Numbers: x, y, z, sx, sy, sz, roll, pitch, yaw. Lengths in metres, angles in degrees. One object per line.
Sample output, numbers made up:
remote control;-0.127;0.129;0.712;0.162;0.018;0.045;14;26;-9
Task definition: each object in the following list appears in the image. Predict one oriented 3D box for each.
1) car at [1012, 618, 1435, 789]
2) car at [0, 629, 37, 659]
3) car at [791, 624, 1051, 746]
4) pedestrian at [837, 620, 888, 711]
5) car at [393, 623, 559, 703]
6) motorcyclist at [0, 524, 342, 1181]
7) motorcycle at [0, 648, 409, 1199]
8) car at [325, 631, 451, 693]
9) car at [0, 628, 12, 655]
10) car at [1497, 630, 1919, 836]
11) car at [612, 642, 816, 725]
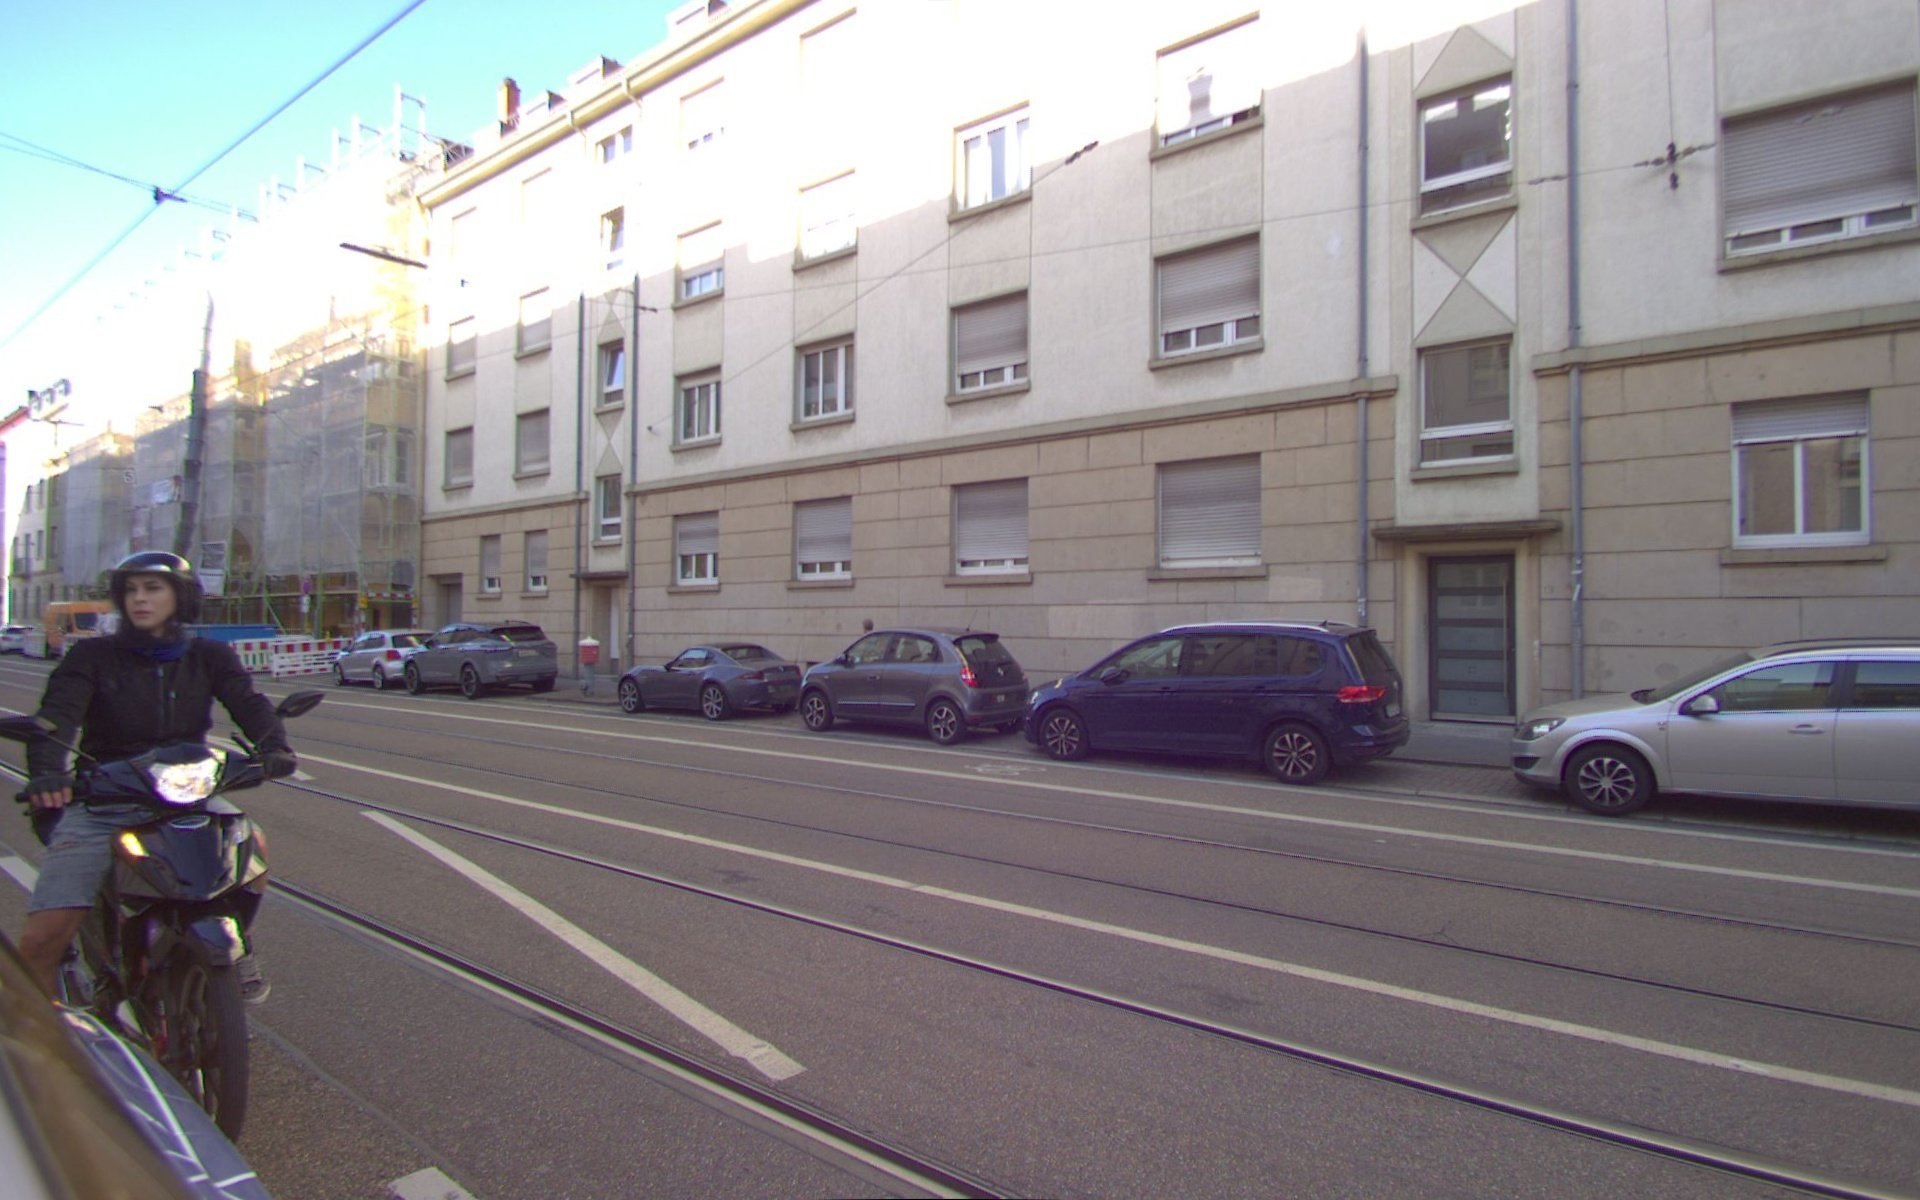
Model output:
car;2.897;1.036;11.674;4.383;1.611;1.779;-1;-1;38
car;-50.062;2.279;53.339;3.964;1.498;1.662;-2;-1;42
car;-0.624;1.137;14.653;3.535;1.539;1.659;-1;-1;38
pedestrian;-1.711;1.139;17.811;0.693;1.553;0.563;-2;-3;39
car;-10.879;1.338;22.658;4.201;1.611;1.675;-1;-1;38
motorcyclist;-2.538;0.658;3.158;0.899;1.668;0.781;-2;-3;41
motorcycle;-2.635;0.819;3.236;2.272;1.302;0.781;-2;-3;41
car;-14.380;1.503;25.395;3.506;1.423;1.524;-1;-1;38
car;-54.577;2.335;56.815;3.964;1.498;1.662;-2;-1;42
car;7.130;1.005;8.500;4.383;1.489;1.779;-1;-1;38
car;-4.310;1.370;17.499;3.681;1.244;1.502;-1;-1;38
